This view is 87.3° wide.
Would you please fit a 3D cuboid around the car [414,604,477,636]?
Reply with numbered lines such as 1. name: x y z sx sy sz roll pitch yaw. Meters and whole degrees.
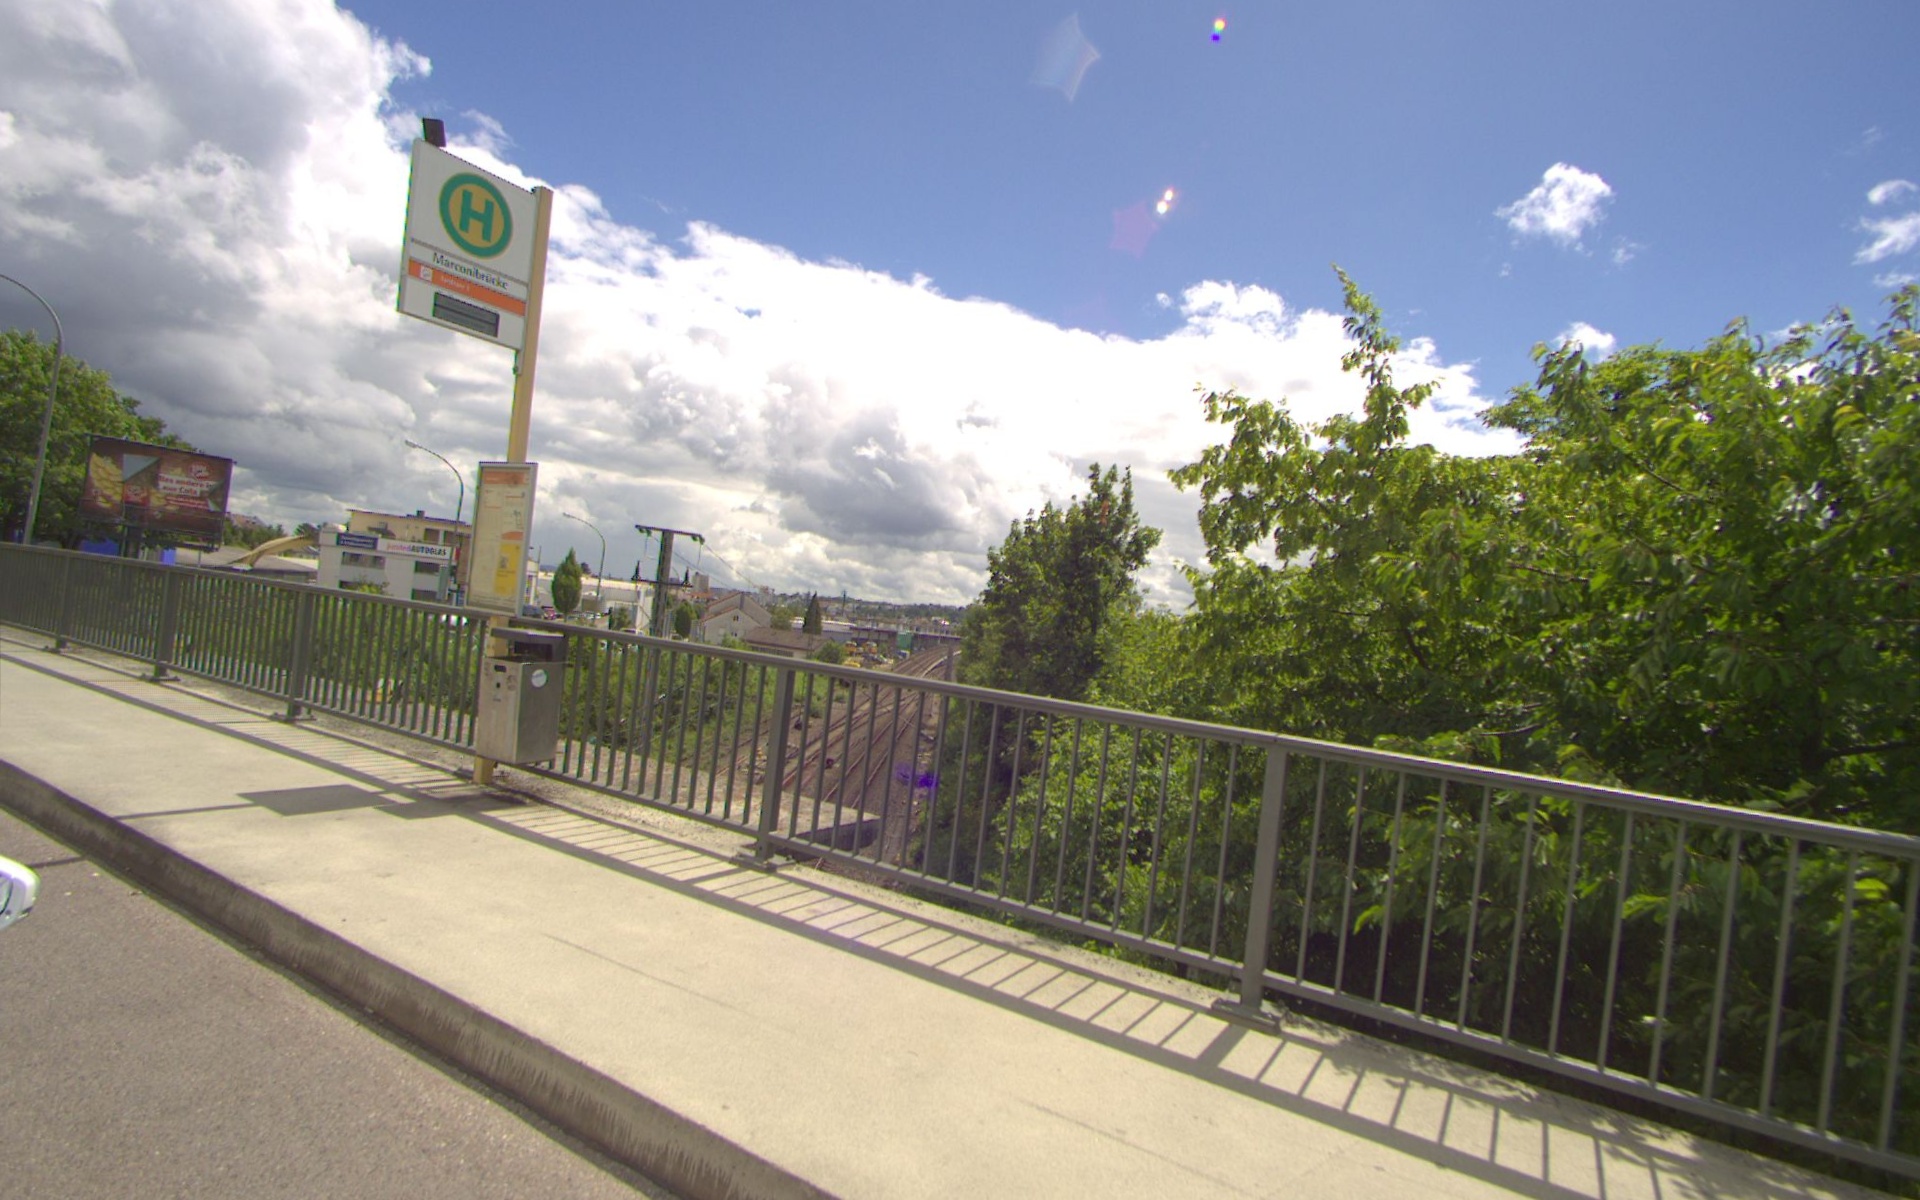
1. car: -30.992 1.245 60.772 1.680 1.495 3.963 7 -4 -1
